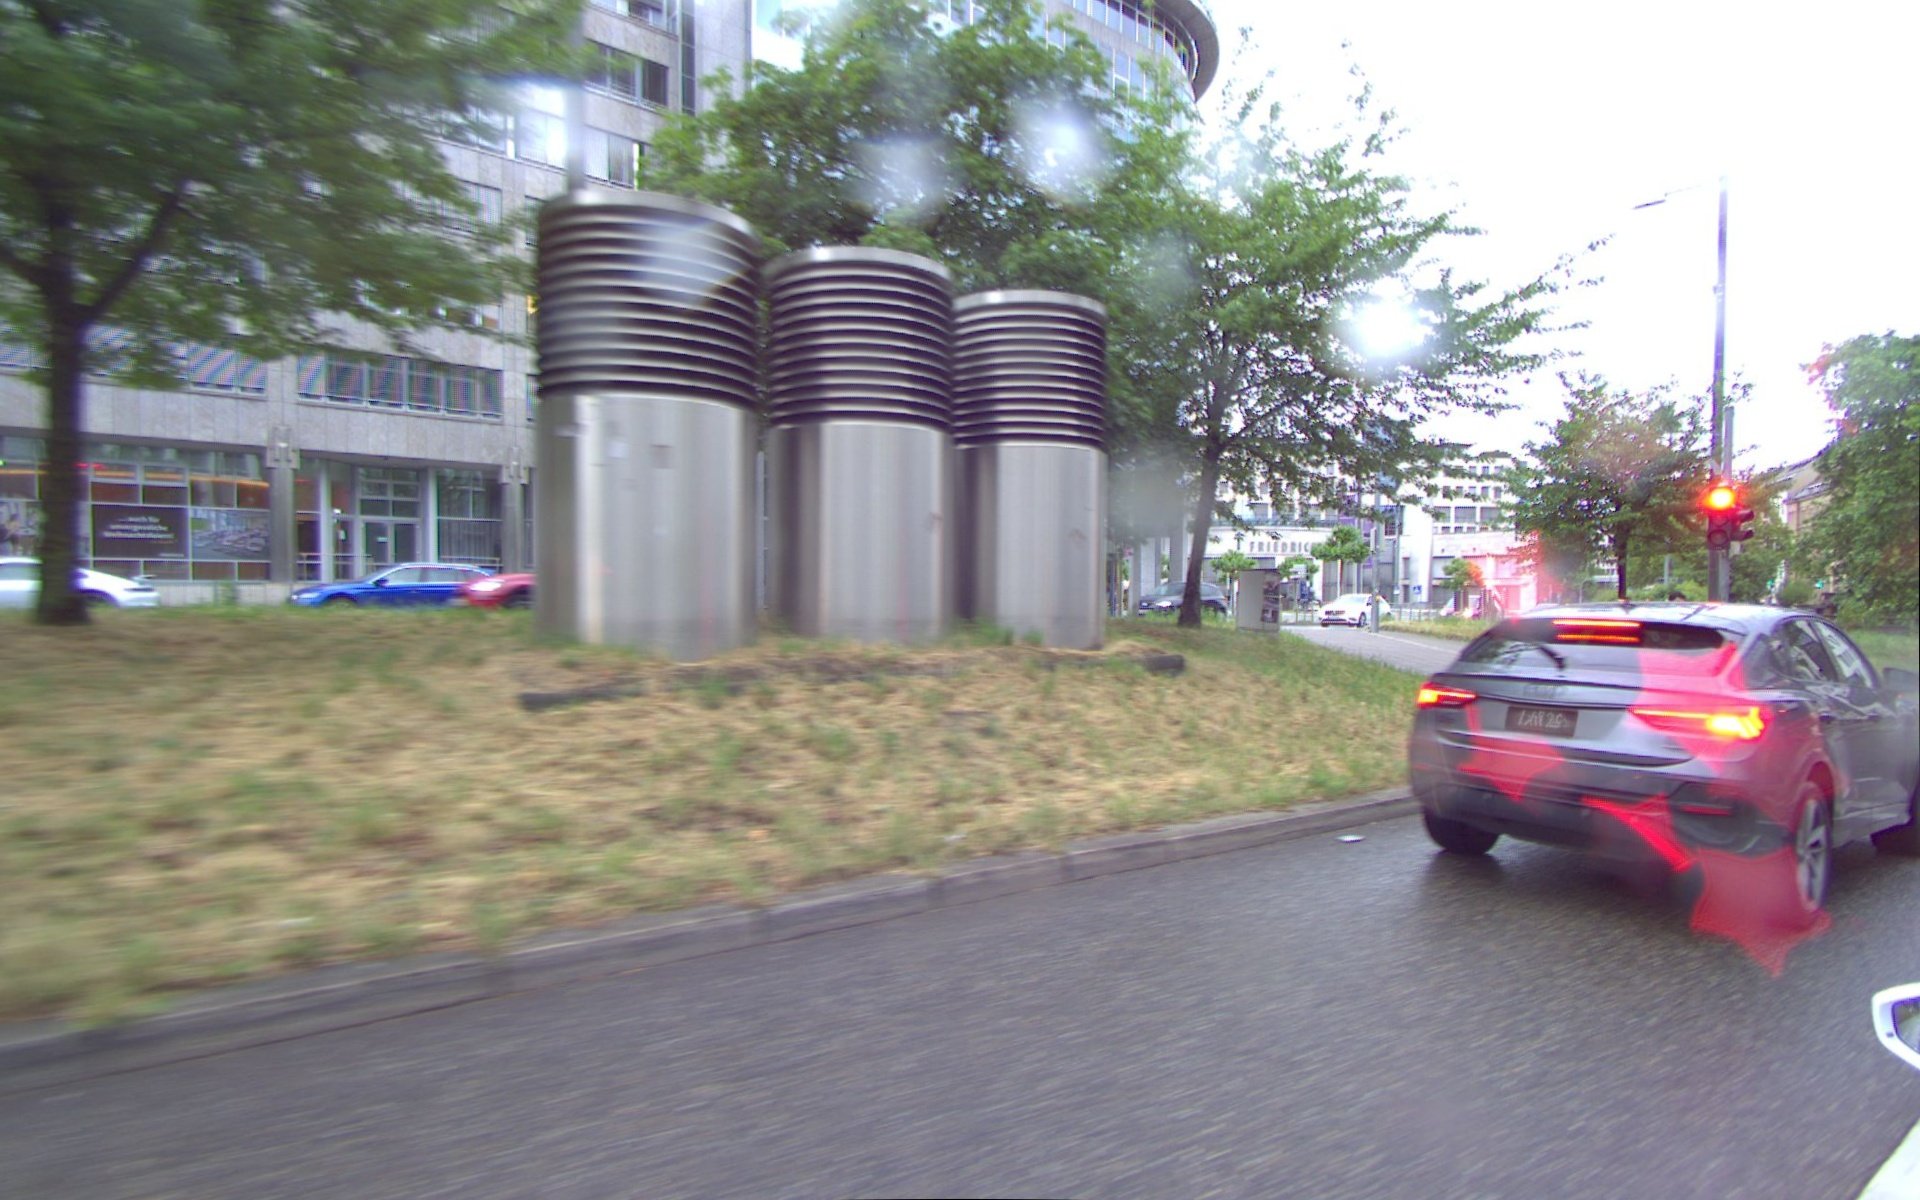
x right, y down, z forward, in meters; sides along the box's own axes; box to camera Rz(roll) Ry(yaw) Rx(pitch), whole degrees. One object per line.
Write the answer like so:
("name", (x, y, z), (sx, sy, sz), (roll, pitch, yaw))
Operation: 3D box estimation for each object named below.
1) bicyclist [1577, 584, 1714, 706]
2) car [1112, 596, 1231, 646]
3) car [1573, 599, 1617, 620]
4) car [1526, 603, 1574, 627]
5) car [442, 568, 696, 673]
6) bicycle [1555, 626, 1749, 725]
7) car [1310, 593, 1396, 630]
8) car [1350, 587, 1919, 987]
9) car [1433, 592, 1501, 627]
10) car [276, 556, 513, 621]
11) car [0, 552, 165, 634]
("bicyclist", (9.693, 0.608, 14.251), (0.997, 1.603, 1.133), (2, 2, -13))
("car", (6.983, 0.679, 33.000), (3.971, 1.495, 1.850), (1, 1, -43))
("car", (49.158, 0.771, 77.757), (4.353, 1.506, 1.787), (1, 2, -43))
("car", (39.434, 0.994, 67.090), (3.974, 1.506, 1.786), (1, 2, -45))
("car", (-7.153, 0.343, 18.585), (3.971, 1.723, 1.927), (1, 1, -43))
("bicycle", (9.675, 1.025, 14.162), (0.995, 1.129, 2.061), (2, 2, -14))
("car", (16.919, 0.492, 43.185), (4.163, 1.495, 1.802), (1, 1, -43))
("car", (4.439, 0.781, 6.180), (4.212, 1.638, 1.834), (0, 1, -37))
("car", (26.779, 0.506, 52.957), (4.550, 1.750, 1.708), (1, 1, -43))
("car", (-12.829, -0.235, 22.946), (4.441, 1.343, 1.875), (1, 1, -41))
("car", (-17.333, -0.127, 18.120), (4.641, 1.420, 1.762), (0, 0, -38))
